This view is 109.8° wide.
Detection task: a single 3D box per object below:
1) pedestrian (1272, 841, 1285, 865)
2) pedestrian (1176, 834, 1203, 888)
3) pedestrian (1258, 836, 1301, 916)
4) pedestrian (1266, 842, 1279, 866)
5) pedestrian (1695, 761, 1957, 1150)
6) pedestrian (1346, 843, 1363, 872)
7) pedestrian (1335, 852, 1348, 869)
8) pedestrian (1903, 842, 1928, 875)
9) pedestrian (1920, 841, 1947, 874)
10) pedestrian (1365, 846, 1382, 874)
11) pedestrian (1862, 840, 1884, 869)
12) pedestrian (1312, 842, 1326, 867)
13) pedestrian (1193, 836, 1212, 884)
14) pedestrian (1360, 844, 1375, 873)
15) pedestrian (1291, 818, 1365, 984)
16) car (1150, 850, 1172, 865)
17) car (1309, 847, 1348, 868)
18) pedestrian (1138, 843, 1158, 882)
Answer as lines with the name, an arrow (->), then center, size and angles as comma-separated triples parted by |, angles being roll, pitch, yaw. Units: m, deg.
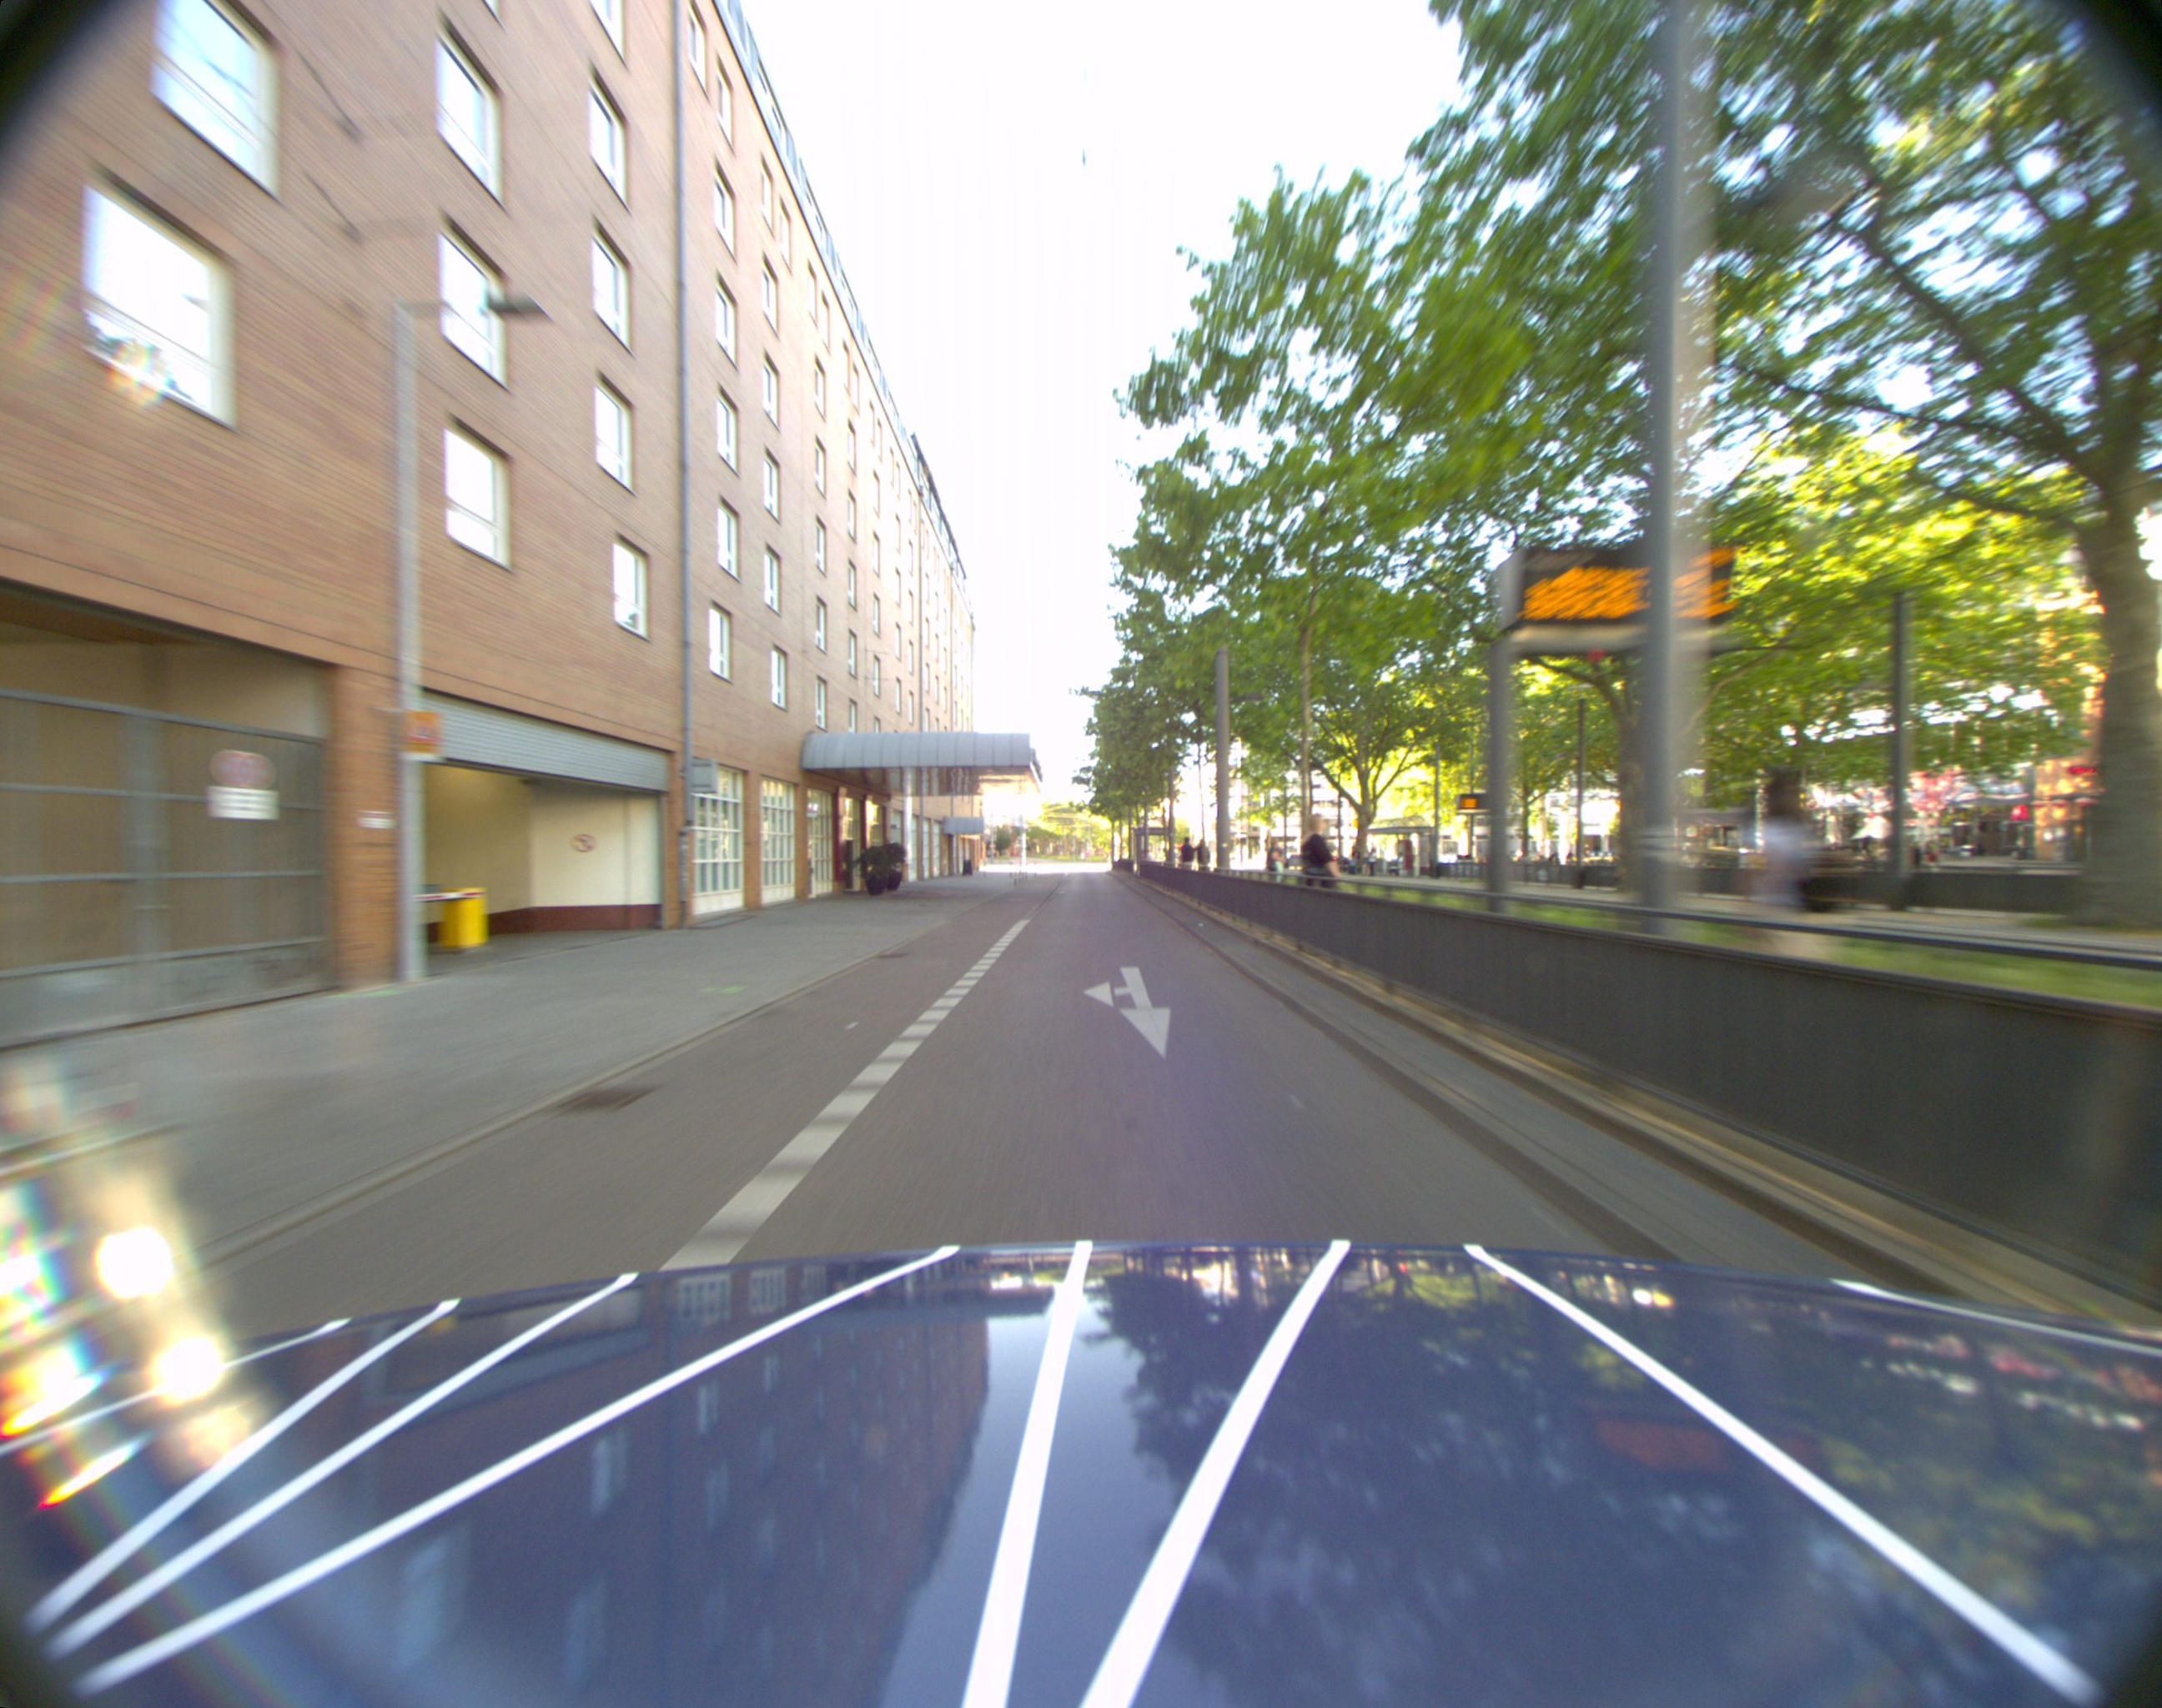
pedestrian -> 14.362, -0.066, 55.361 | 0.686, 1.686, 0.698 | -1, 1, -8
pedestrian -> 3.718, 0.237, 26.134 | 0.708, 1.791, 0.826 | -1, 1, -7
pedestrian -> 4.363, 0.471, 16.762 | 0.731, 1.692, 0.863 | -1, 1, 2
pedestrian -> 14.117, -0.030, 56.034 | 0.656, 1.744, 0.676 | -1, 1, -8
pedestrian -> 3.874, 0.487, 4.020 | 0.647, 1.861, 0.753 | -1, 1, 1
pedestrian -> 15.459, 0.197, 42.966 | 0.669, 1.632, 0.669 | -1, 1, -12
pedestrian -> 16.888, 0.424, 49.281 | 0.723, 1.034, 0.698 | -1, 1, 8
pedestrian -> 40.247, 0.205, 36.640 | 0.579, 1.595, 0.580 | -1, 1, 5
pedestrian -> 40.963, 0.163, 36.511 | 0.579, 1.595, 0.598 | -1, 1, 5
pedestrian -> 15.397, 0.304, 39.975 | 0.571, 1.477, 0.607 | -1, 1, -12
pedestrian -> 43.386, 0.025, 41.618 | 0.579, 1.595, 0.597 | -1, 1, -1
pedestrian -> 16.466, 0.026, 52.642 | 0.698, 1.730, 0.637 | -1, 1, -8
pedestrian -> 4.755, 0.236, 29.790 | 0.648, 1.829, 0.638 | -1, 1, 0
pedestrian -> 15.279, 0.237, 40.564 | 0.554, 1.488, 0.550 | -1, 1, -12
pedestrian -> 2.885, 0.533, 8.917 | 0.647, 1.876, 0.661 | 0, 1, 0
car -> 7.956, 0.333, 75.929 | 1.871, 1.447, 3.342 | -1, 1, 0
car -> 20.428, 0.276, 62.777 | 1.998, 1.630, 4.000 | 0, 1, 1
pedestrian -> 2.996, 0.376, 34.184 | 0.742, 1.680, 0.645 | -3, 1, -1
